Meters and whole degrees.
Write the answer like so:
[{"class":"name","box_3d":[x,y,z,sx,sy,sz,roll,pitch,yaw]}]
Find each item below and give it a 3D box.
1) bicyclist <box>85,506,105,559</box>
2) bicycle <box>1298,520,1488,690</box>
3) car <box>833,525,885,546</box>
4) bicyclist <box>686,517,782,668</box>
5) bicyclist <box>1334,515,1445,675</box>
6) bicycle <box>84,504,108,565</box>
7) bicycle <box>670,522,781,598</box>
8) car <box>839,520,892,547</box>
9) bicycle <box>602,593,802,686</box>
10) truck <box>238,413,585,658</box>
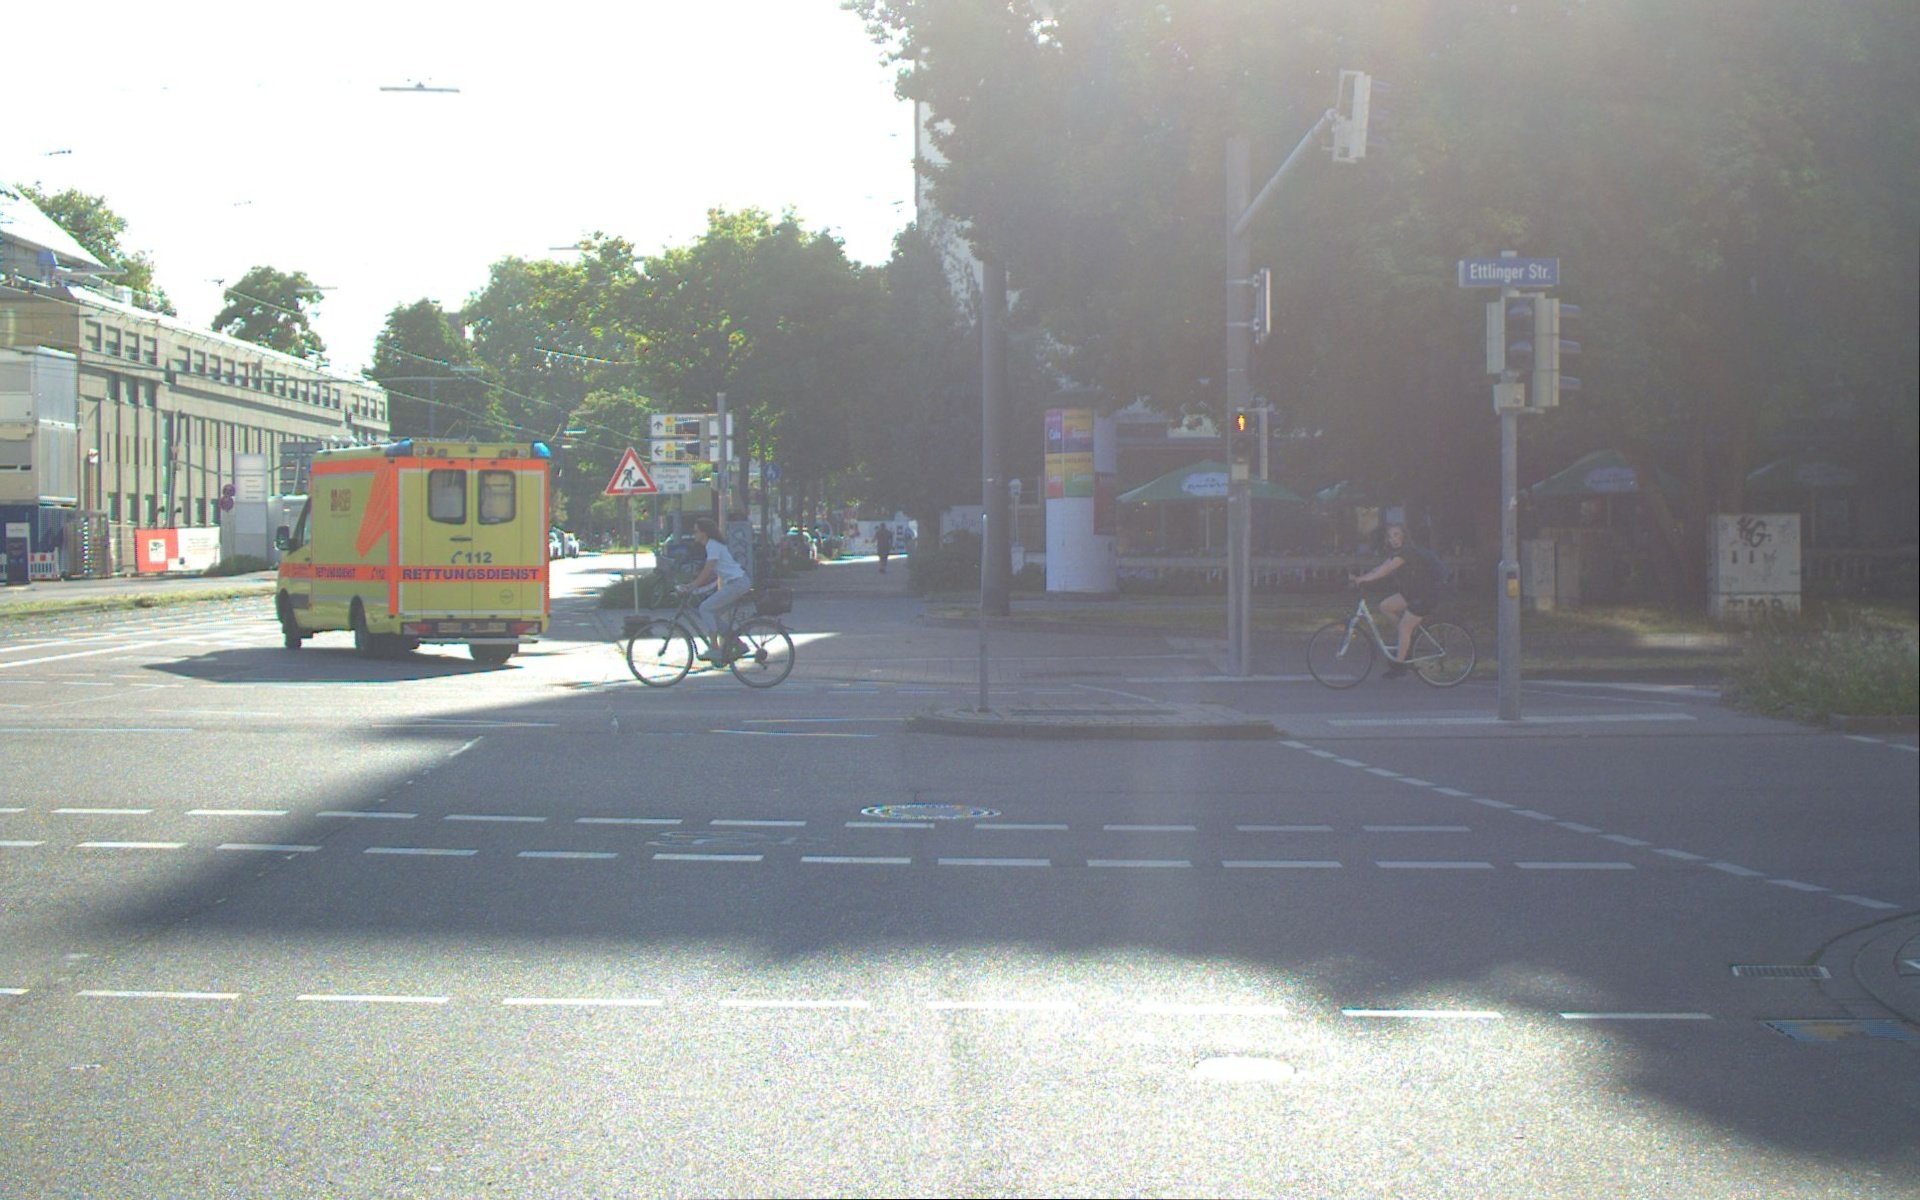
[{"class":"bicyclist","box_3d":[-32.737,-2.559,130.076,0.571,2.017,0.762,0,1,-2]},{"class":"bicycle","box_3d":[4.492,0.047,35.733,1.897,1.729,0.597,0,1,0]},{"class":"car","box_3d":[-6.203,-3.948,211.139,3.217,1.259,1.373,1,0,-1]},{"class":"bicyclist","box_3d":[-2.362,-0.083,35.929,0.974,1.555,0.575,-1,1,-5]},{"class":"bicyclist","box_3d":[4.456,-0.057,35.731,1.074,1.635,0.597,0,1,0]},{"class":"bicycle","box_3d":[-32.734,-2.468,130.191,0.571,2.288,1.422,0,1,-2]},{"class":"bicycle","box_3d":[-5.546,-0.949,81.336,2.547,1.737,1.037,1,0,0]},{"class":"car","box_3d":[-5.889,-4.131,213.410,3.214,1.583,1.446,1,0,-4]},{"class":"bicycle","box_3d":[-2.694,0.409,35.909,2.064,0.930,0.575,-1,1,-5]},{"class":"truck","box_3d":[-7.385,-0.849,45.576,2.716,3.005,6.490,-1,1,-26]}]
